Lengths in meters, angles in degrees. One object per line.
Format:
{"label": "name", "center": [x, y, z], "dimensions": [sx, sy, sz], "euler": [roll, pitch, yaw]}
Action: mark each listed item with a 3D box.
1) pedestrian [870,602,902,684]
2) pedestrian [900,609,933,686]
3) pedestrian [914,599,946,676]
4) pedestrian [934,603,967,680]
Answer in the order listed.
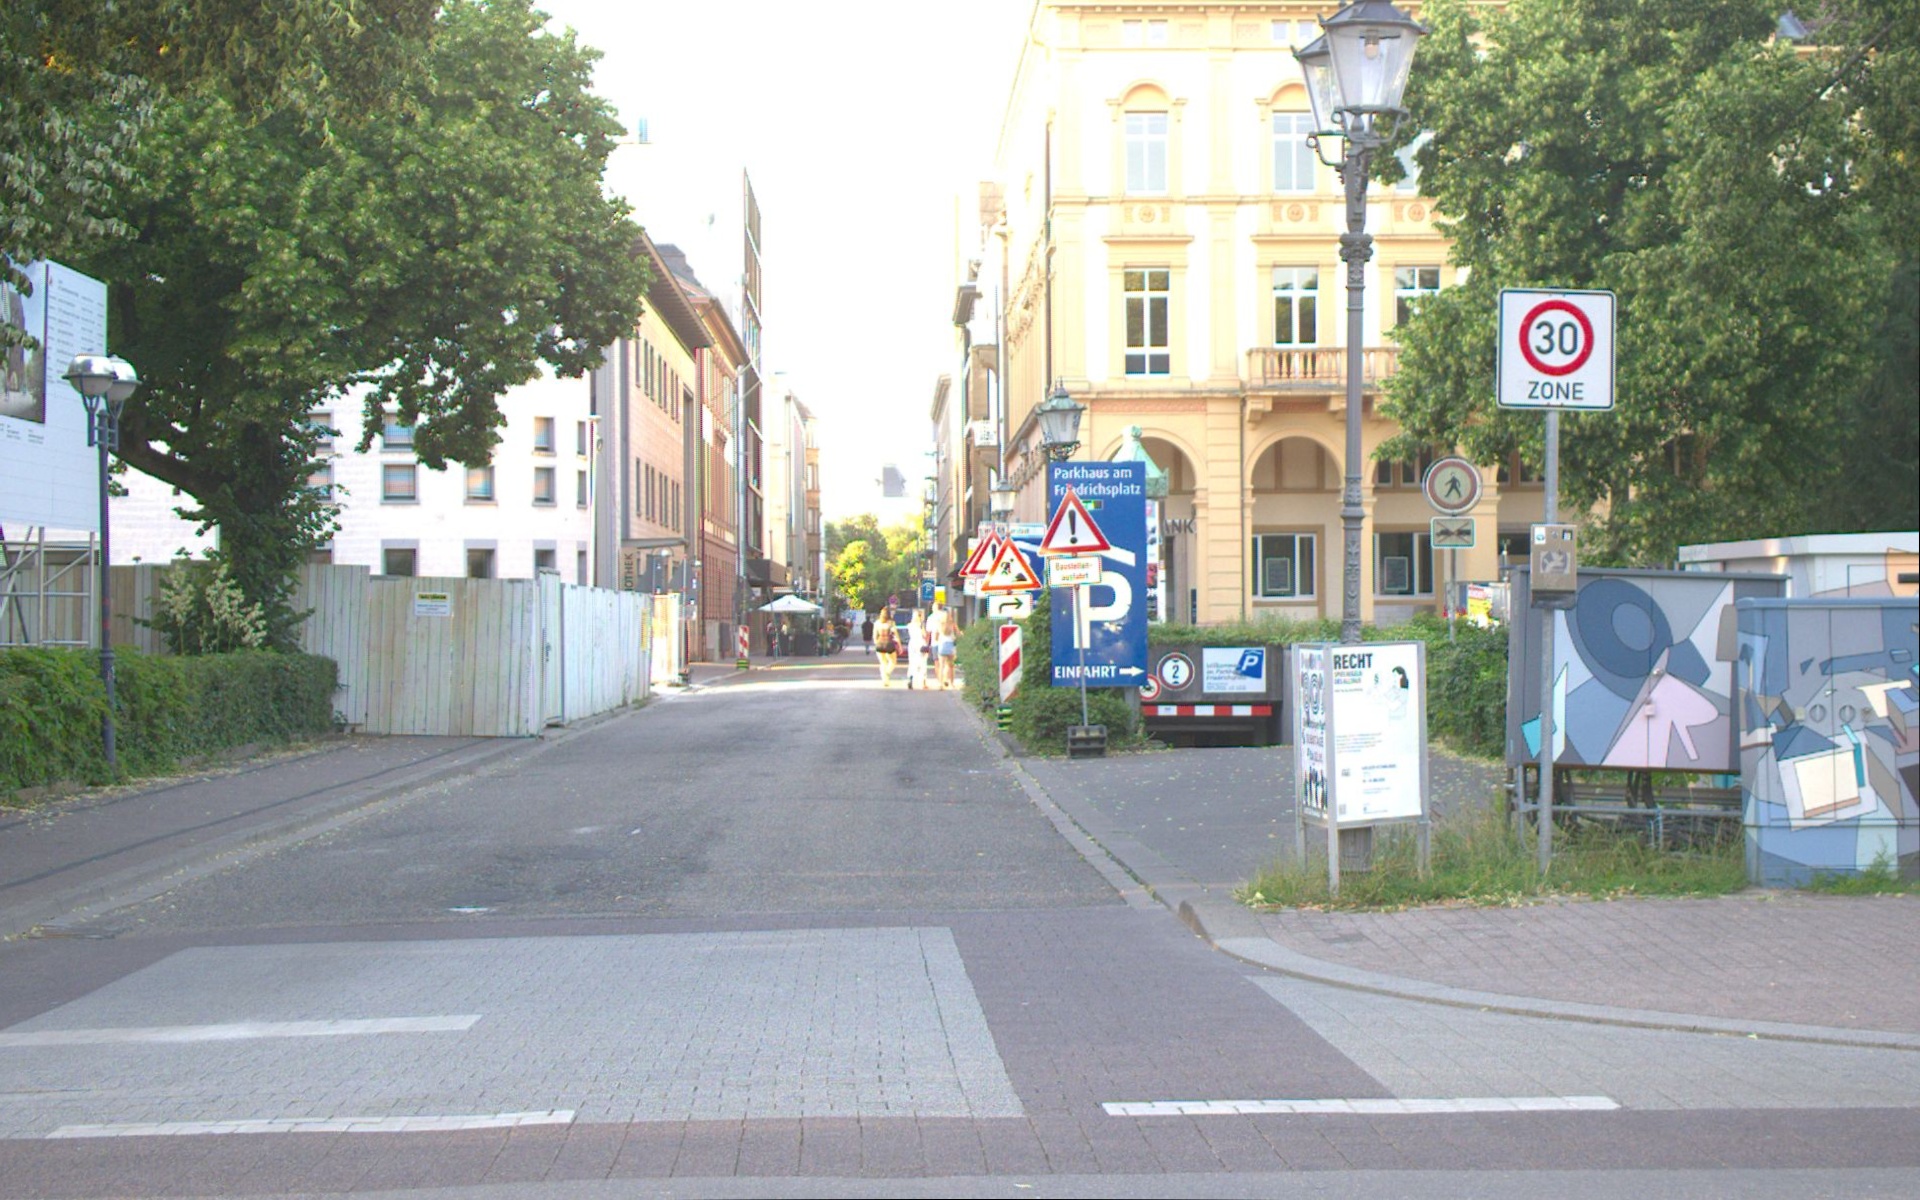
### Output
{"label": "pedestrian", "center": [-1.586, 0.916, 73.674], "dimensions": [0.657, 1.754, 0.745], "euler": [-1, 0, -1]}
{"label": "pedestrian", "center": [-0.916, 0.992, 72.562], "dimensions": [0.657, 1.611, 0.745], "euler": [-1, 0, -1]}
{"label": "pedestrian", "center": [-0.644, 0.803, 73.546], "dimensions": [0.657, 1.630, 0.745], "euler": [-1, 0, -1]}
{"label": "pedestrian", "center": [-0.198, 0.865, 72.500], "dimensions": [0.657, 1.611, 0.745], "euler": [-1, 0, -1]}
